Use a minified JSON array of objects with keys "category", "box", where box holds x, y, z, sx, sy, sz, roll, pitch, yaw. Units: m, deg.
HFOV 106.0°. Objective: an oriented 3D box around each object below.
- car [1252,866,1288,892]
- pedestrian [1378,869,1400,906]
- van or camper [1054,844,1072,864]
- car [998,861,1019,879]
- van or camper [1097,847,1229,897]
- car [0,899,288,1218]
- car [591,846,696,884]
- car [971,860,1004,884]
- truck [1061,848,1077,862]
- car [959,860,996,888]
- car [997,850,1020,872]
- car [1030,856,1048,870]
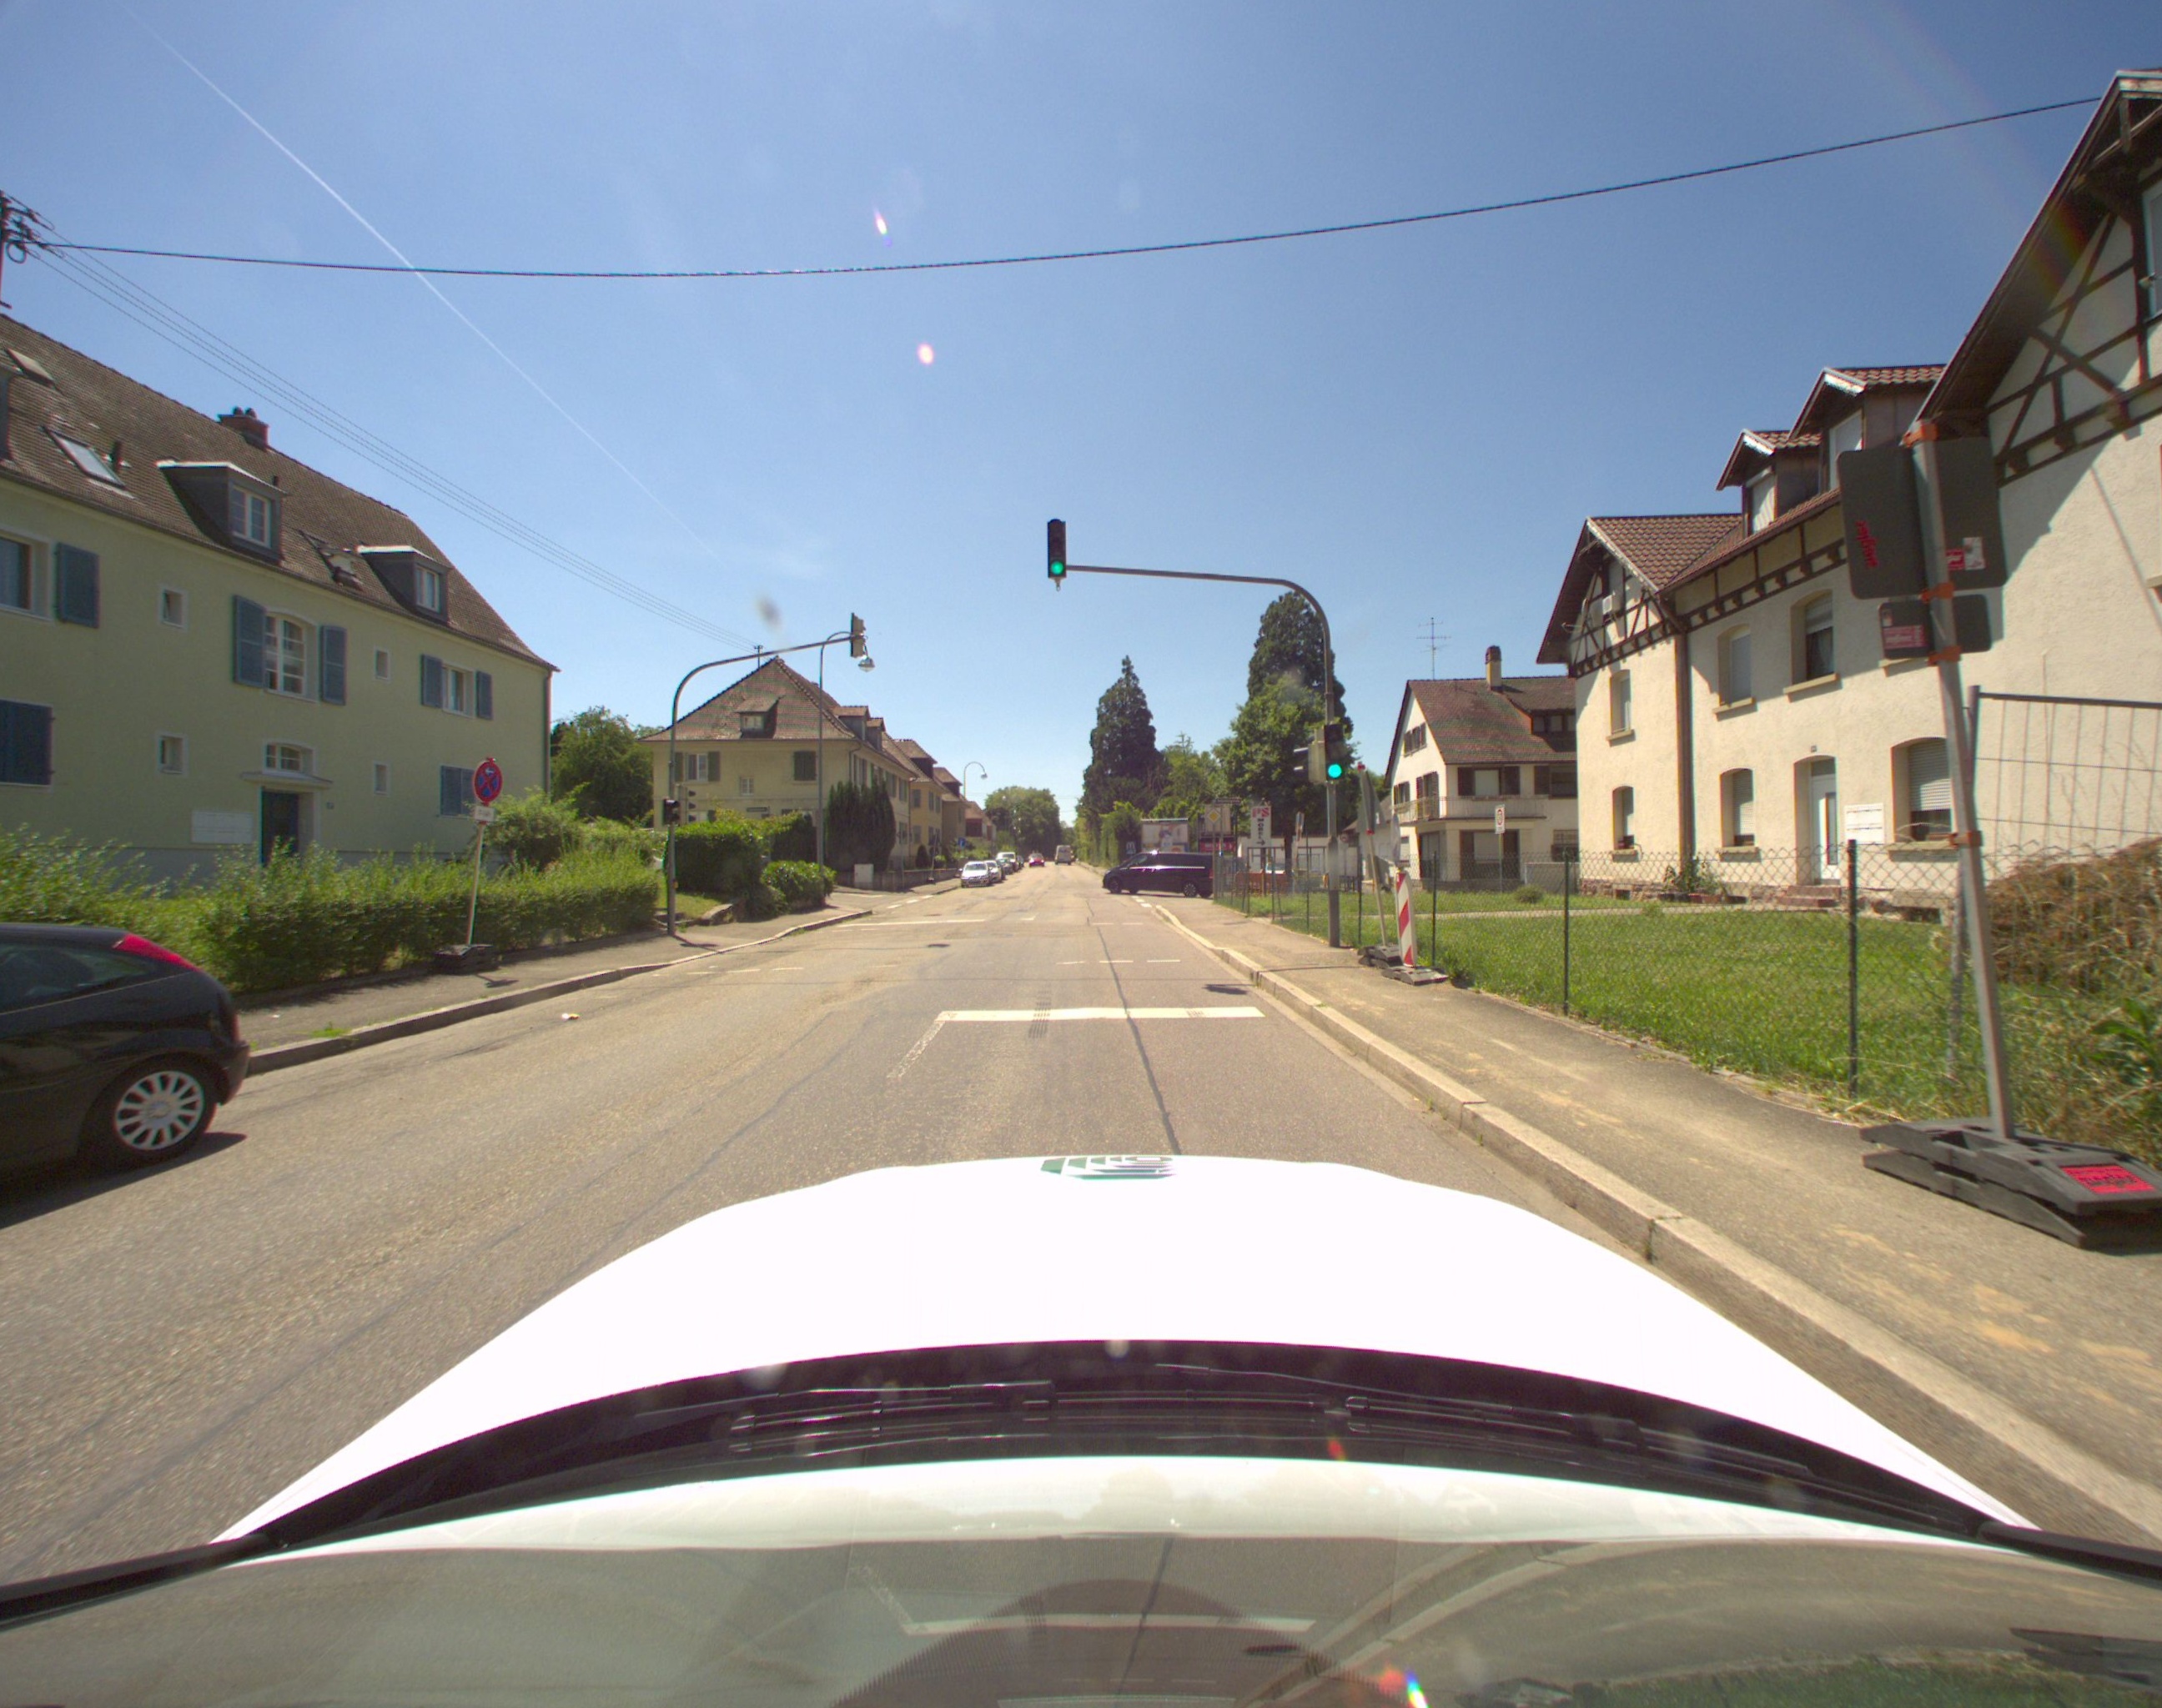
[{"category":"car","box":[10.087,1.323,43.637,1.701,1.270,3.393,0,0,9]},{"category":"pedestrian","box":[13.323,1.441,35.203,0.693,1.600,0.572,-1,-1,-2]},{"category":"van or camper","box":[-2.441,0.058,108.887,2.257,2.528,4.754,-2,0,-3]},{"category":"car","box":[-6.279,1.371,70.914,1.682,1.525,4.058,0,0,-3]},{"category":"van or camper","box":[3.458,0.727,34.651,5.204,2.014,1.920,0,0,27]},{"category":"car","box":[-5.875,1.013,3.157,1.675,1.412,3.927,-3,-1,1]},{"category":"car","box":[-19.040,0.480,35.499,3.563,1.457,1.751,2,-1,5]},{"category":"car","box":[-5.976,1.114,52.353,1.790,1.402,4.214,-2,0,-3]},{"category":"truck","box":[-2.077,0.153,139.856,2.353,2.258,6.079,-1,0,-6]},{"category":"car","box":[-5.941,1.138,47.181,1.755,1.447,3.920,-2,0,-3]},{"category":"car","box":[-6.893,0.681,78.178,1.873,1.963,4.622,-3,0,-2]},{"category":"car","box":[-4.769,0.993,92.783,1.809,1.566,3.694,-2,0,-2]}]
